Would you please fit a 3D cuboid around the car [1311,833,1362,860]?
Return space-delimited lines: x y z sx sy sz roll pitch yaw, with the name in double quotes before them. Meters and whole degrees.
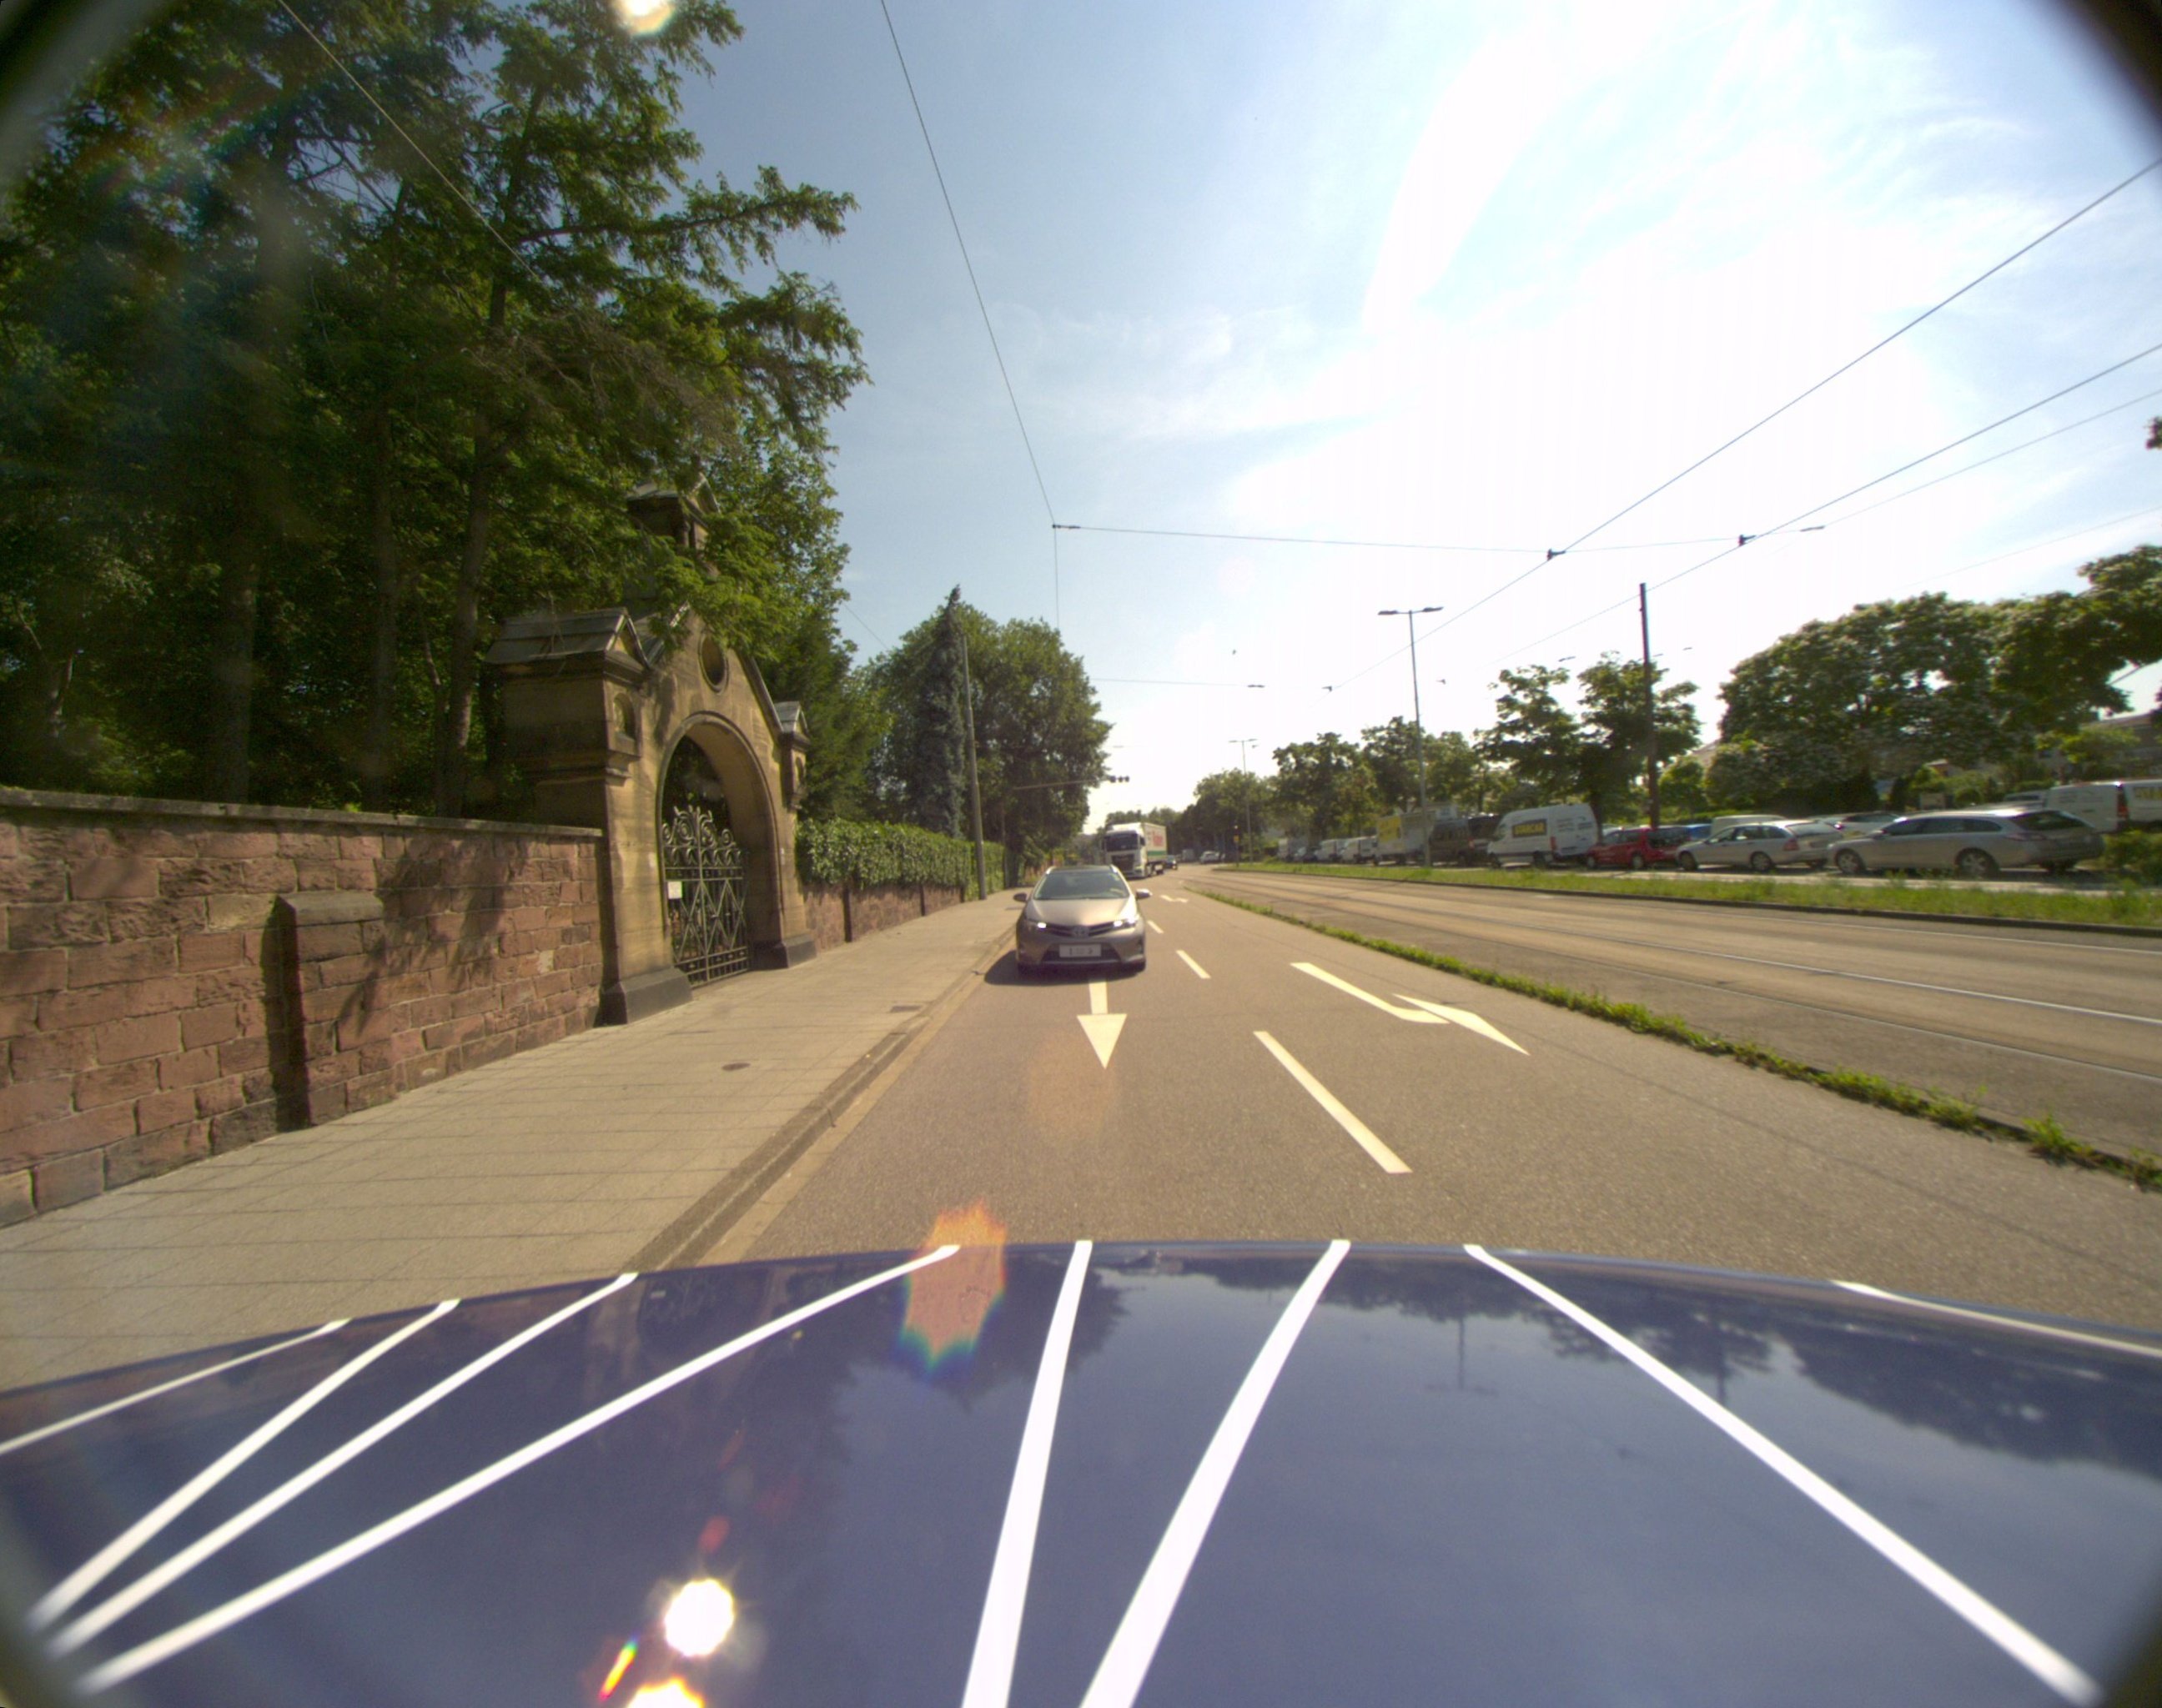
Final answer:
"car" 21.437 -0.581 64.060 2.202 1.929 5.183 -5 0 -3

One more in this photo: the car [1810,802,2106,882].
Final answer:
"car" 20.141 -0.236 17.844 1.608 1.481 4.618 -6 0 2

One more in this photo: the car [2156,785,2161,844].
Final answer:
"car" 30.700 -1.157 19.460 3.997 1.554 1.663 -3 0 -1

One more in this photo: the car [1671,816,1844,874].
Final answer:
"car" 20.253 -0.249 23.019 1.295 1.481 4.351 -5 0 1

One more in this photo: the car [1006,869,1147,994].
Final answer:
"car" -0.044 1.011 11.546 1.719 1.439 4.030 -2 0 0

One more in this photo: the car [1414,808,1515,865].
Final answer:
"car" 20.443 -0.886 40.913 2.201 2.653 6.079 -5 0 0

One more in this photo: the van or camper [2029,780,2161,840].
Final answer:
"van or camper" 30.631 -1.309 22.094 3.998 1.554 1.876 -3 0 -5

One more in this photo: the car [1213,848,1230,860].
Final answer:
"car" 21.605 0.003 116.813 1.679 1.603 4.242 -4 0 -1

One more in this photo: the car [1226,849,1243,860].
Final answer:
"car" 21.295 0.070 105.443 1.619 1.442 4.083 -4 0 2

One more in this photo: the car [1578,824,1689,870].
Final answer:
"car" 20.277 -0.239 28.053 1.295 1.481 3.676 -4 0 -1

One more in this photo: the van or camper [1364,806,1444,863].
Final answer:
"van or camper" 20.629 -1.129 49.000 2.201 3.222 6.773 -6 0 2

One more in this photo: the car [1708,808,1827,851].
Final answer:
"car" 31.925 -1.114 35.405 3.997 1.684 1.663 -3 0 0

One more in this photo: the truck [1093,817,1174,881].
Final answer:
"truck" 4.327 -0.387 57.604 3.388 4.045 14.300 -4 0 14

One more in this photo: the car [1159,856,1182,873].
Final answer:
"car" 8.850 1.034 75.403 1.759 1.455 4.000 -4 0 0

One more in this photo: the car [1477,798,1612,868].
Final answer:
"car" 20.356 -0.842 33.783 2.201 2.615 5.979 -6 0 1

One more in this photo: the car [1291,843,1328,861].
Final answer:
"car" 21.050 -0.194 70.274 1.937 1.446 4.886 -5 0 1

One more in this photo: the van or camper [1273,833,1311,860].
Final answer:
"van or camper" 21.322 -0.700 76.969 2.262 2.500 6.148 -3 0 2

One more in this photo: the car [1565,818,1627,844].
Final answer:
"car" 43.786 -1.934 64.687 3.998 1.879 1.785 -3 0 -3

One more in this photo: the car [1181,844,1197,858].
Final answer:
"car" 21.953 -0.651 154.613 2.016 2.635 6.086 -7 0 1

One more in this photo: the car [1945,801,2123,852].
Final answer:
"car" 30.586 -0.856 24.435 3.998 1.363 1.488 -3 0 -3

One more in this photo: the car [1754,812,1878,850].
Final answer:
"car" 31.787 -0.978 32.899 3.998 1.363 1.489 -3 0 -3

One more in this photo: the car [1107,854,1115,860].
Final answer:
"car" 10.267 1.082 257.817 1.999 1.783 3.998 -3 0 -5

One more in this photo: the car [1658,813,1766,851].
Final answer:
"car" 31.843 -1.092 38.426 3.997 1.684 1.663 -3 0 0

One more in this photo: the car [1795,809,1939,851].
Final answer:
"car" 31.144 -0.932 30.173 3.997 1.363 1.660 -3 0 -2

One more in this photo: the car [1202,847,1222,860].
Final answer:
"car" 16.862 -0.036 98.063 2.048 1.588 4.661 -2 0 4

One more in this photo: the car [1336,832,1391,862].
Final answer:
"car" 21.224 -0.513 57.363 2.201 1.929 5.186 -6 0 2

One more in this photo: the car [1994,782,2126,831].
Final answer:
"car" 47.340 -2.257 36.792 3.998 1.991 1.910 -4 0 -3

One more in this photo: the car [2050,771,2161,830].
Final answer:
"car" 43.877 -2.261 31.910 3.998 2.187 1.910 -4 0 -3
